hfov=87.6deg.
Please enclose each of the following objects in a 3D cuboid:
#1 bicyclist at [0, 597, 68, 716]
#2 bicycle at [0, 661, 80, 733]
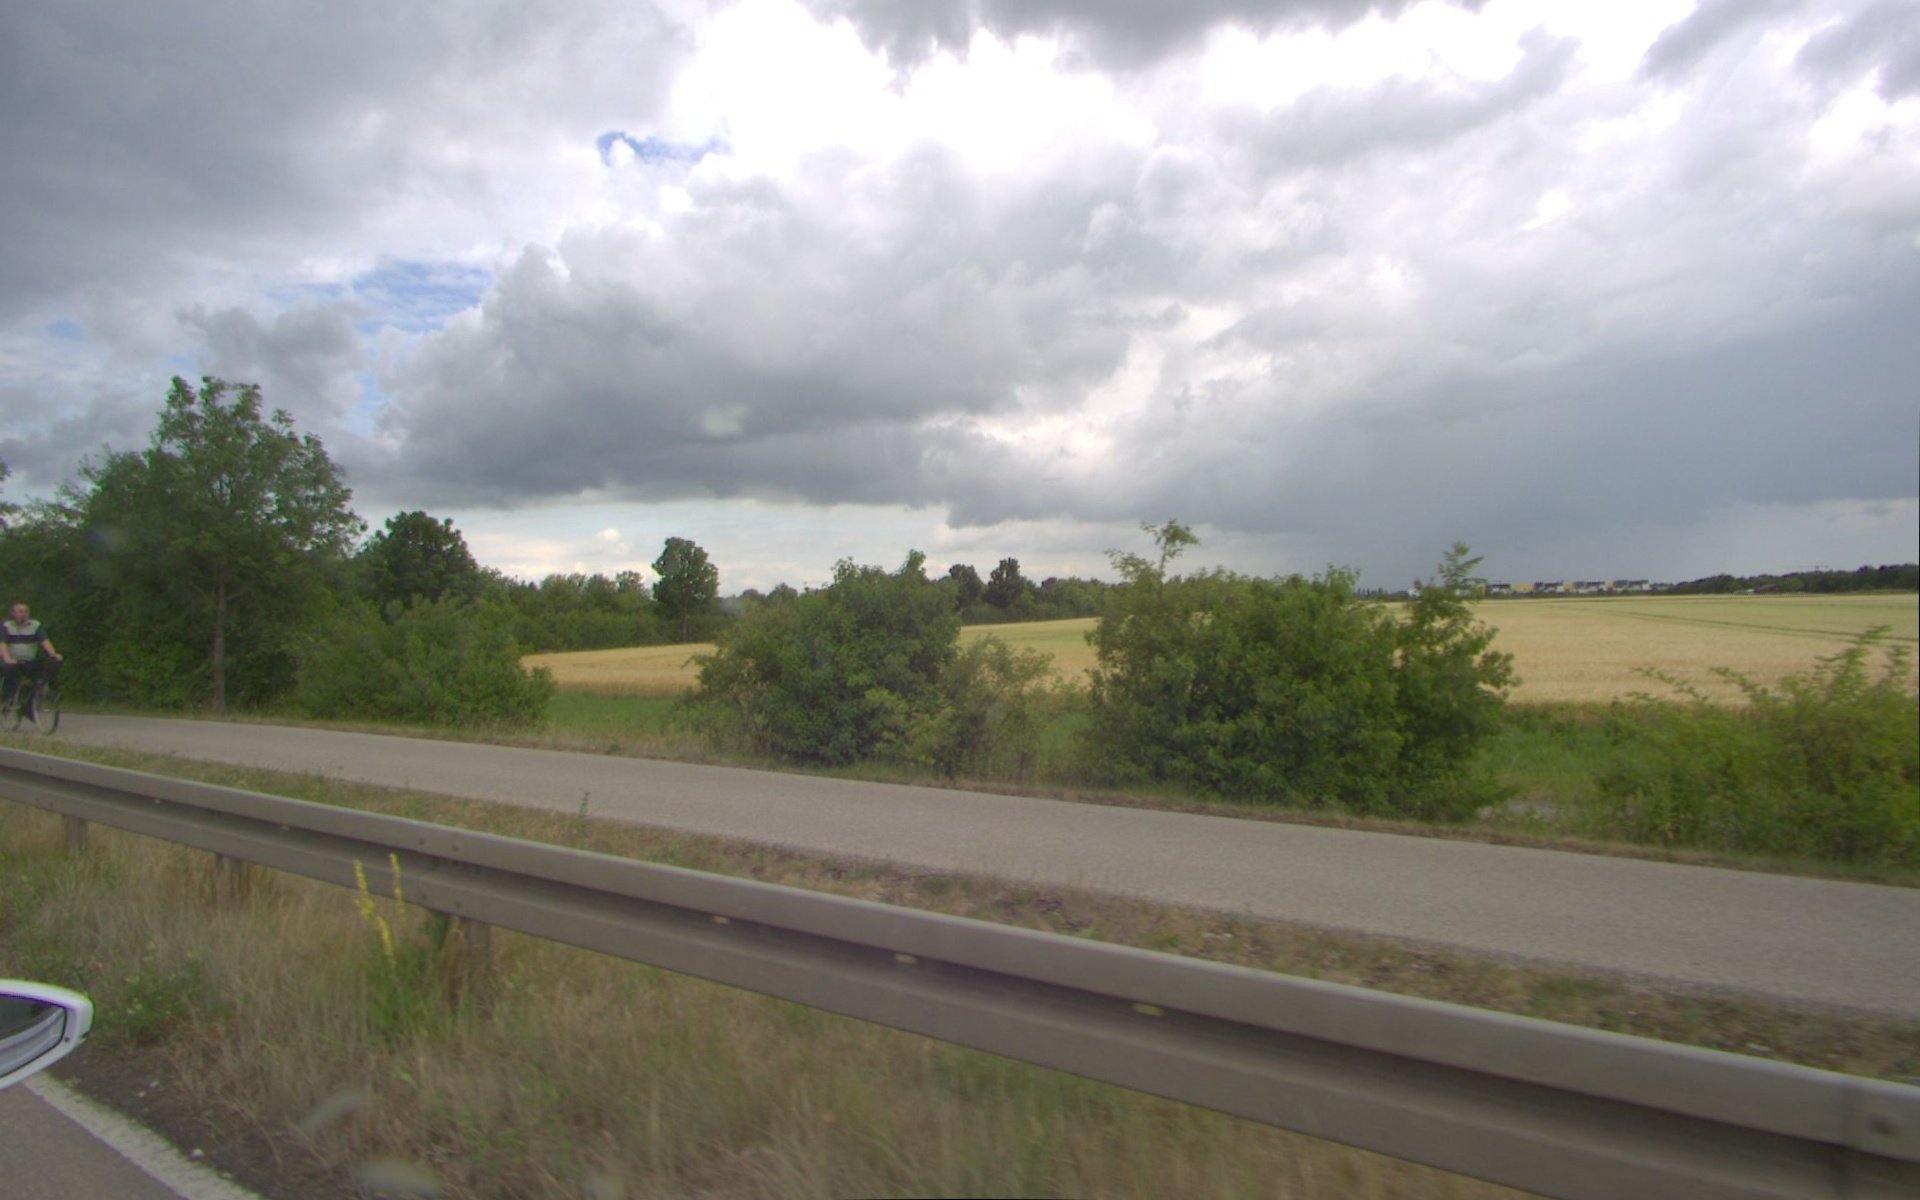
[{"bbox_3d":[-13.512,0.805,14.517,0.854,1.667,0.645,-1,0,32],"label":"bicyclist"},{"bbox_3d":[-13.564,1.382,14.561,1.804,0.932,0.664,-1,0,32],"label":"bicycle"}]
